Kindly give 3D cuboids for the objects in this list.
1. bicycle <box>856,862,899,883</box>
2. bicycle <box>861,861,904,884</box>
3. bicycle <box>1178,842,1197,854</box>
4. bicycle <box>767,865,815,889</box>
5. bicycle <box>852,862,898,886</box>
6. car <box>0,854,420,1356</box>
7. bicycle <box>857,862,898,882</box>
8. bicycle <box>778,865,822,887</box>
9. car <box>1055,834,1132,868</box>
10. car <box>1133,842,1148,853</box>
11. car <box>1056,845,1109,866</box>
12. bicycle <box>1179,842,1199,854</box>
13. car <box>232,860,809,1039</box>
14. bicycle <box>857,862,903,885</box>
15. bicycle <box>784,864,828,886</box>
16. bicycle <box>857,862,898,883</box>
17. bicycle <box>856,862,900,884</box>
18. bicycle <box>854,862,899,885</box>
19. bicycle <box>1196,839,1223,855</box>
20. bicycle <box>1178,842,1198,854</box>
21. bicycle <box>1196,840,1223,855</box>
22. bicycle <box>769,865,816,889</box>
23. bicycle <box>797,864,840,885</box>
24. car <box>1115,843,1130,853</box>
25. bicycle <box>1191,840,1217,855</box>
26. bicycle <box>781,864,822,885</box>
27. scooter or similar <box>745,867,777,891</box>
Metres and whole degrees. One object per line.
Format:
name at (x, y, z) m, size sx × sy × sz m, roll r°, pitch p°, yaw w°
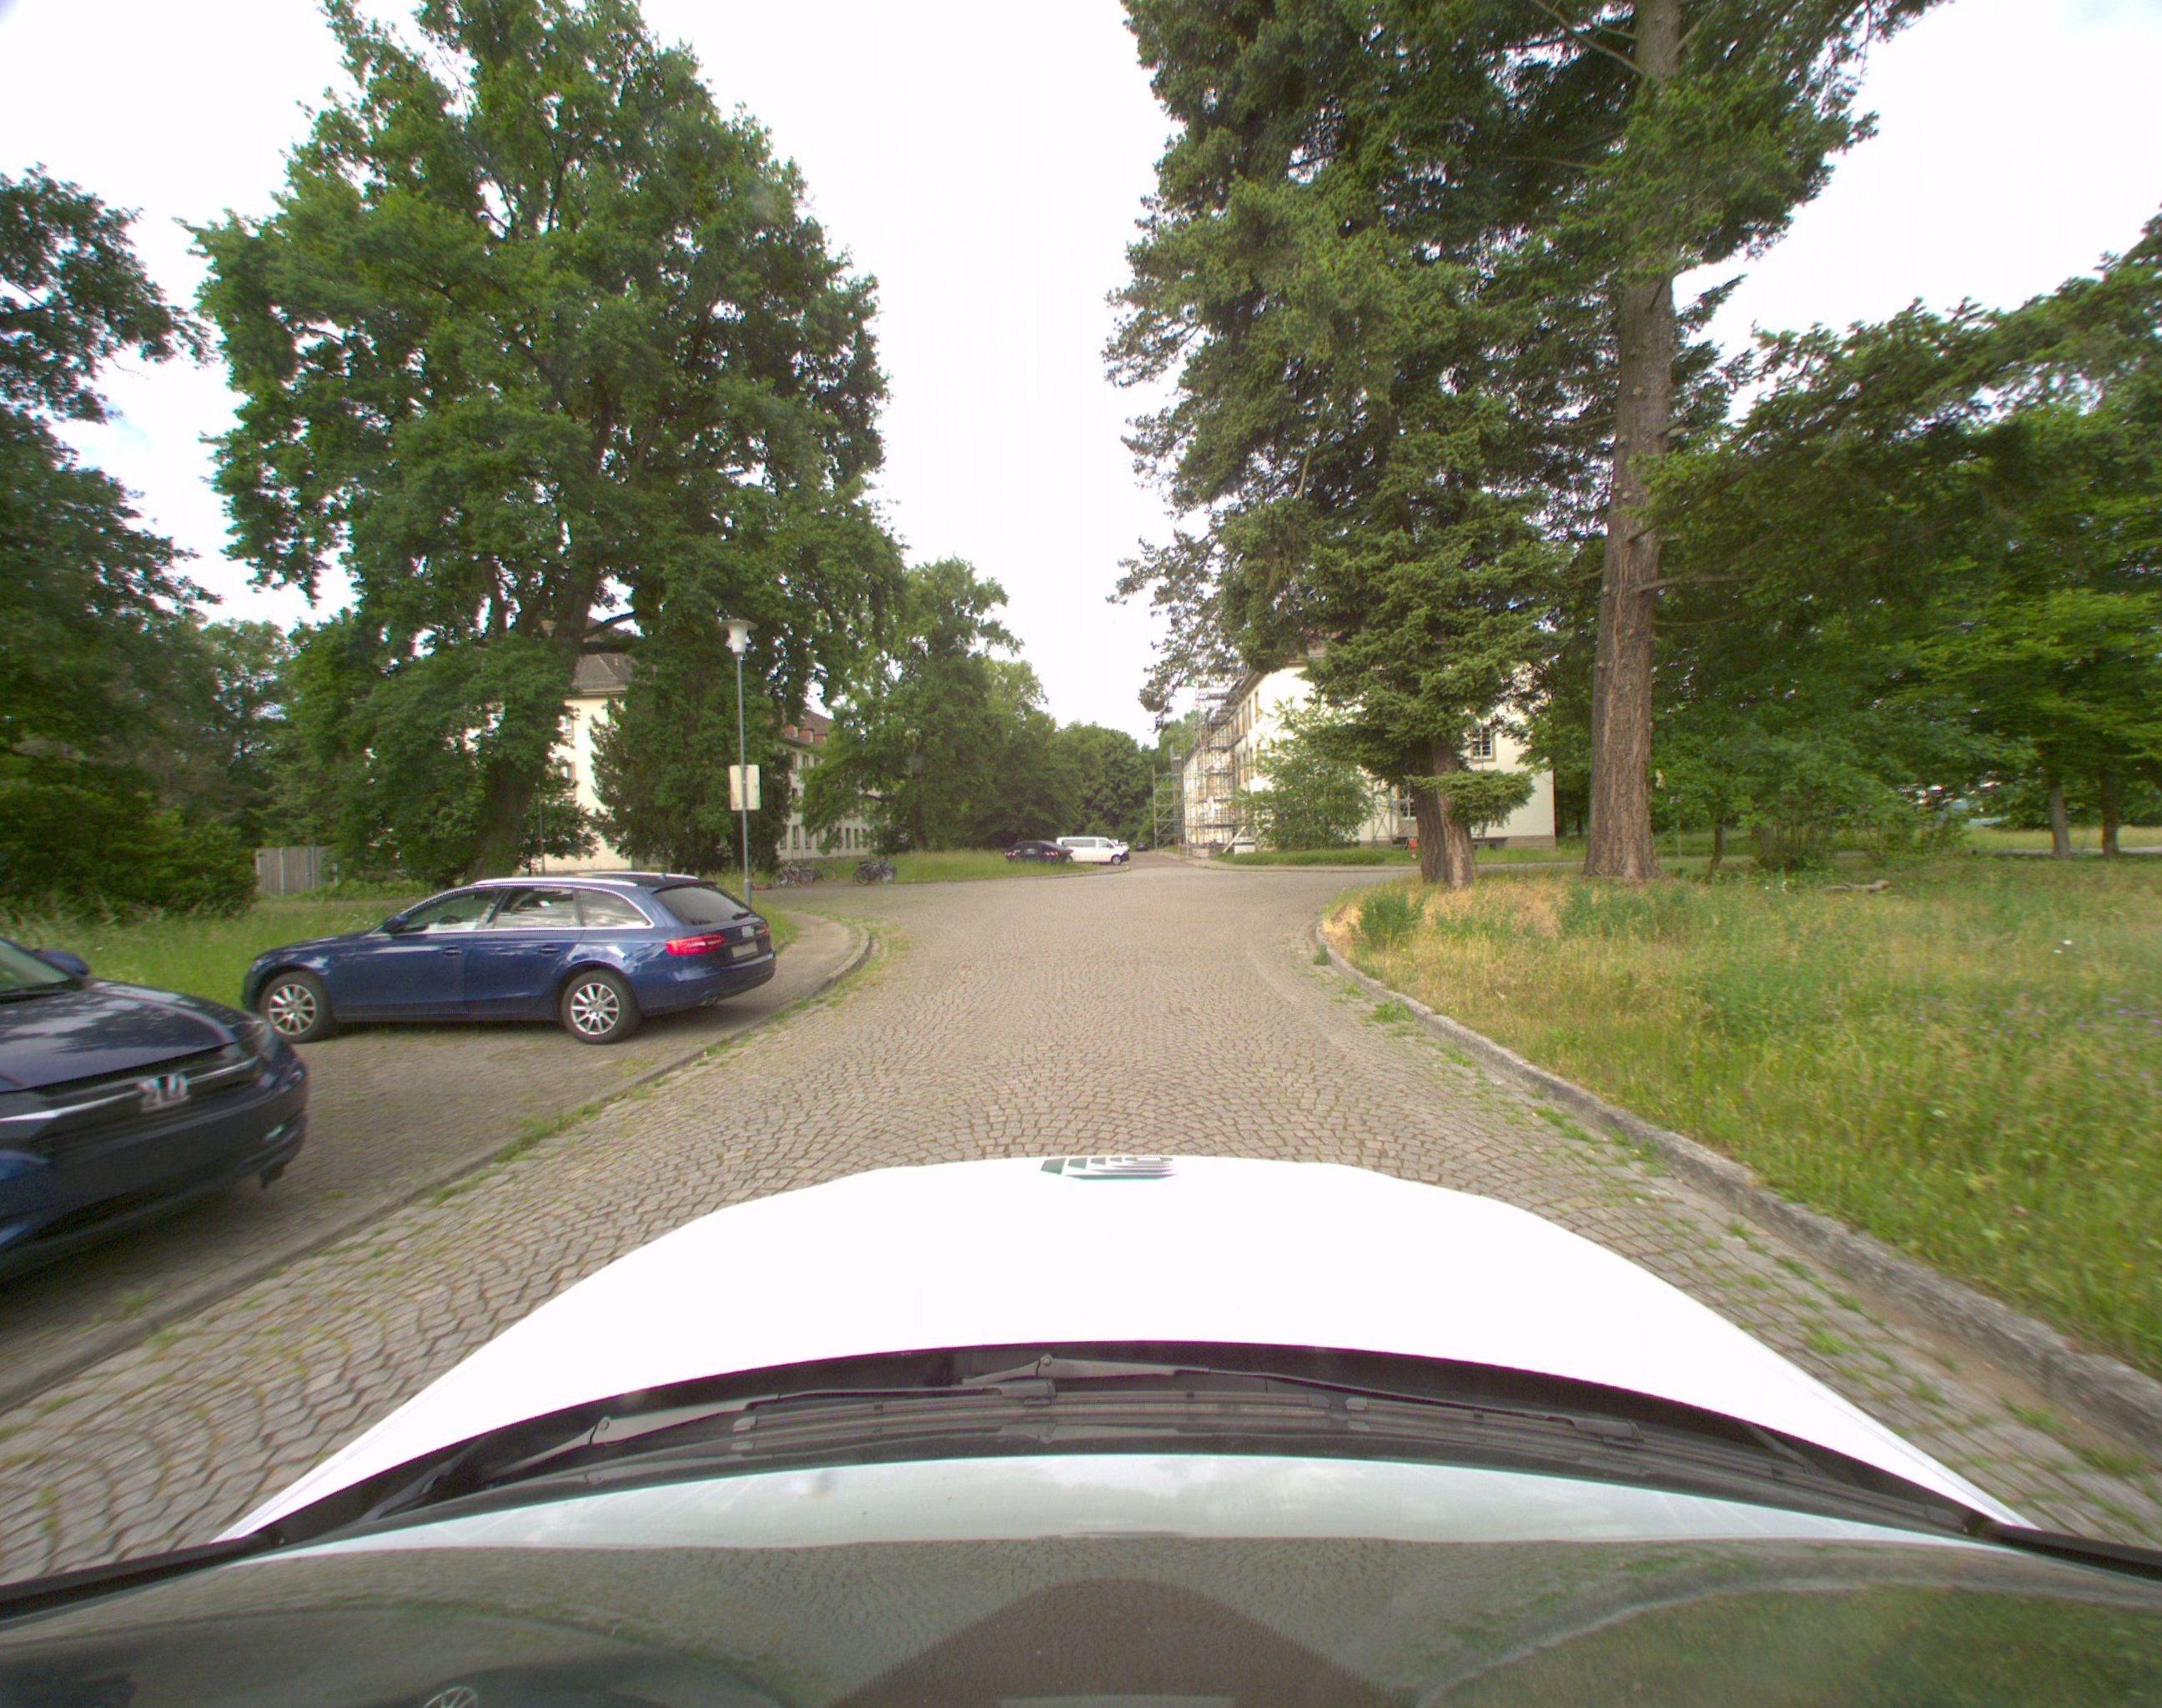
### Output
bicycle at (-10.102, 0.912, 40.461) m, size 1.964 × 0.989 × 0.622 m, roll -2°, pitch 0°, yaw -21°
bicycle at (-9.691, 0.898, 39.720) m, size 1.964 × 0.989 × 0.622 m, roll -2°, pitch 0°, yaw -21°
bicycle at (12.429, -0.695, 95.054) m, size 2.230 × 1.254 × 0.635 m, roll -2°, pitch 0°, yaw 4°
bicycle at (-13.172, 1.035, 37.007) m, size 1.967 × 0.989 × 0.622 m, roll -2°, pitch 0°, yaw -24°
bicycle at (-9.253, 0.888, 36.603) m, size 1.963 × 0.989 × 0.623 m, roll -2°, pitch 0°, yaw -18°
car at (-5.557, 0.832, 3.271) m, size 4.213 × 1.577 × 1.888 m, roll -1°, pitch 1°, yaw 1°
bicycle at (-10.539, 0.924, 42.187) m, size 1.964 × 0.989 × 0.622 m, roll -2°, pitch 0°, yaw -21°
bicycle at (-13.532, 1.044, 39.221) m, size 1.967 × 0.989 × 0.622 m, roll -2°, pitch 0°, yaw -24°
car at (0.854, -0.215, 56.635) m, size 5.218 × 2.168 × 2.000 m, roll -2°, pitch 0°, yaw 0°
car at (8.931, -1.024, 122.730) m, size 1.944 × 1.521 × 4.001 m, roll -2°, pitch 0°, yaw 1°
car at (0.126, 0.092, 59.259) m, size 3.777 × 1.395 × 2.000 m, roll -2°, pitch 0°, yaw -1°
bicycle at (12.309, -0.686, 92.963) m, size 2.230 × 1.254 × 0.628 m, roll -2°, pitch 0°, yaw 4°
car at (-5.172, 0.840, 7.966) m, size 4.284 × 1.460 × 1.977 m, roll -1°, pitch 1°, yaw 3°
bicycle at (-9.199, 0.885, 37.226) m, size 1.964 × 0.989 × 0.622 m, roll -2°, pitch 0°, yaw -21°
bicycle at (-13.701, 1.048, 40.576) m, size 1.956 × 0.989 × 0.625 m, roll -2°, pitch 0°, yaw -8°
bicycle at (-10.253, 0.916, 41.049) m, size 1.964 × 0.989 × 0.622 m, roll -2°, pitch 0°, yaw -21°
bicycle at (-9.678, 0.899, 38.842) m, size 1.964 × 0.989 × 0.622 m, roll -2°, pitch 0°, yaw -21°
bicycle at (-9.608, 0.898, 38.213) m, size 1.964 × 0.989 × 0.622 m, roll -2°, pitch 0°, yaw -21°
bicycle at (10.922, -0.583, 69.263) m, size 2.230 × 1.254 × 0.779 m, roll -2°, pitch 0°, yaw 4°
bicycle at (12.383, -0.692, 94.210) m, size 2.230 × 1.254 × 0.699 m, roll -2°, pitch 0°, yaw 4°
bicycle at (11.221, -0.599, 71.167) m, size 2.230 × 1.254 × 0.779 m, roll -2°, pitch 0°, yaw 4°
bicycle at (-13.279, 1.038, 37.501) m, size 1.964 × 0.989 × 0.623 m, roll -2°, pitch 0°, yaw -20°
bicycle at (-13.372, 1.033, 41.574) m, size 1.956 × 0.989 × 0.625 m, roll -2°, pitch 0°, yaw -8°
car at (6.253, -0.922, 122.527) m, size 2.111 × 1.521 × 4.001 m, roll -2°, pitch 0°, yaw 1°
bicycle at (11.066, -0.598, 73.520) m, size 2.230 × 1.254 × 0.779 m, roll -2°, pitch 0°, yaw 4°
bicycle at (-14.765, 1.081, 43.052) m, size 1.961 × 0.989 × 0.624 m, roll -2°, pitch 0°, yaw -15°
scooter or similar at (-14.216, 1.117, 36.198) m, size 1.337 × 1.038 × 0.456 m, roll -2°, pitch 0°, yaw 23°
